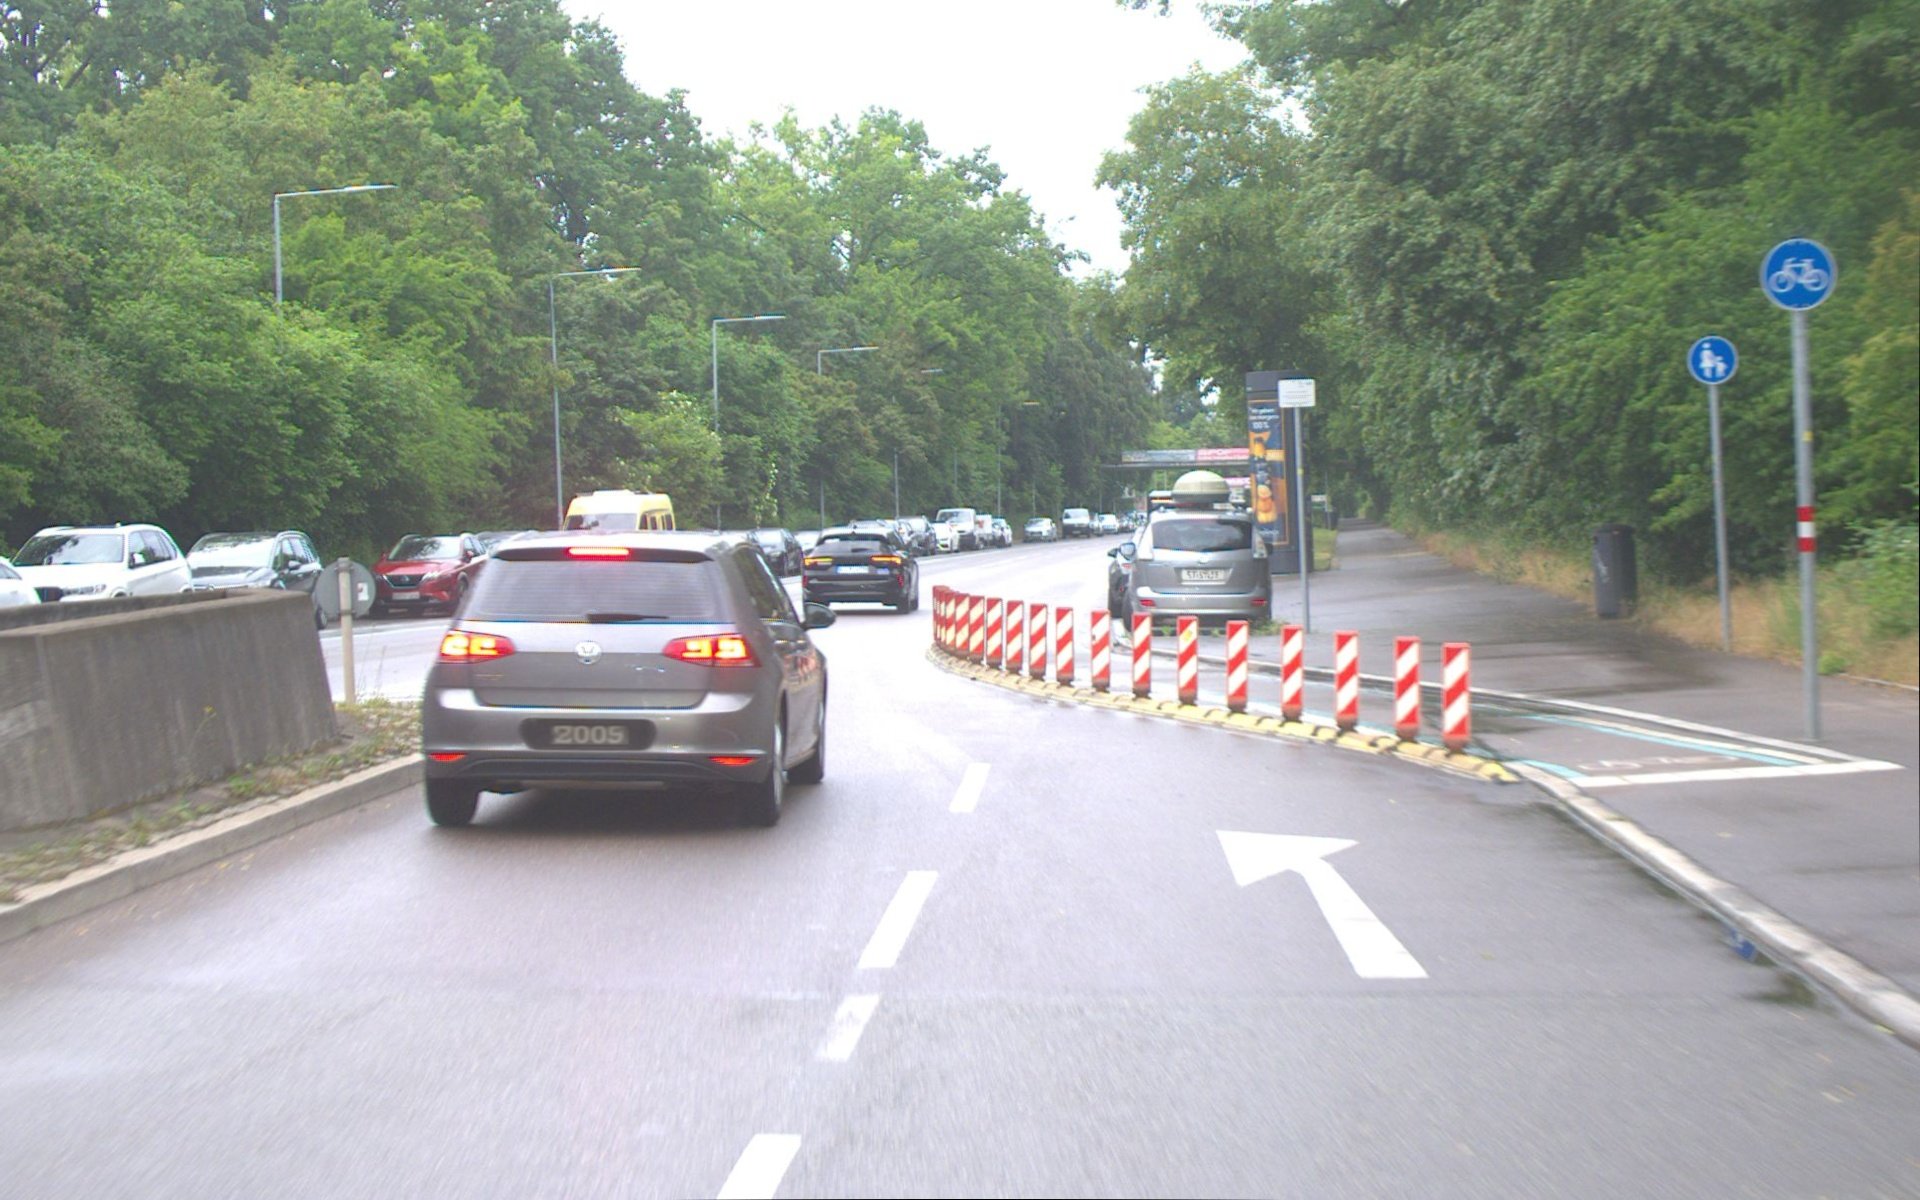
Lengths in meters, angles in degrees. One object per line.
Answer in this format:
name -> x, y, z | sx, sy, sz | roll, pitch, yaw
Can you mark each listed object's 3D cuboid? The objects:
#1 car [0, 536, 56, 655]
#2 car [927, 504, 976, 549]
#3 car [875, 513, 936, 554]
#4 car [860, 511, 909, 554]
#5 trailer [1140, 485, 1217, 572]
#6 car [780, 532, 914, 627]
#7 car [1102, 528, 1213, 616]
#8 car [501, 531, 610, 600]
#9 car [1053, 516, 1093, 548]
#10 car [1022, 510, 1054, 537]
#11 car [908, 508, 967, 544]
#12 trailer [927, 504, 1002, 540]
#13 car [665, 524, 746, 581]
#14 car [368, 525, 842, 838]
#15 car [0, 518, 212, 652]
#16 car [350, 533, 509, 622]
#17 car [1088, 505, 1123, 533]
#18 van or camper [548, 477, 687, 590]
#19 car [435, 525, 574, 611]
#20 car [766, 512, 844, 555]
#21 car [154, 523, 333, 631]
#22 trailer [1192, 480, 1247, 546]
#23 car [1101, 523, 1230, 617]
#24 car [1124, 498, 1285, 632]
car -> -12.792, -0.025, 42.175 | 1.719, 1.455, 4.707 | -1, 1, 6
car -> -0.391, -3.387, 158.068 | 1.940, 2.006, 4.740 | -1, 2, 3
car -> -2.174, -2.696, 138.761 | 1.880, 1.556, 4.467 | -1, 1, 6
car -> -2.797, -2.527, 127.951 | 1.461, 1.565, 2.984 | -1, 2, 5
trailer -> 5.906, -1.941, 92.481 | 1.906, 2.240, 4.767 | -1, 2, 5
car -> -1.842, -0.367, 57.291 | 1.881, 1.461, 4.000 | 1, 2, 3
car -> 3.483, -0.520, 60.035 | 1.856, 1.450, 4.750 | 0, 1, 4
car -> -9.114, -0.803, 77.771 | 1.618, 1.443, 3.656 | -2, 1, 6
car -> 7.517, -4.512, 227.848 | 2.159, 2.006, 5.030 | -1, 2, 7
car -> 4.609, -4.520, 202.961 | 1.673, 1.508, 3.630 | 0, 2, 5
car -> -0.941, -3.189, 147.578 | 1.994, 1.483, 4.467 | -1, 1, 6
trailer -> 0.226, -3.714, 162.958 | 1.629, 1.623, 3.665 | 0, 2, 37
car -> -7.019, -1.323, 95.015 | 1.603, 1.505, 3.138 | -1, 2, 7
car -> -1.720, 0.367, 18.069 | 1.871, 1.436, 4.296 | 0, 0, 2
car -> -12.202, -0.243, 48.044 | 1.994, 1.759, 4.959 | -1, 1, 5
car -> -10.331, -0.470, 67.279 | 1.919, 1.611, 4.489 | -2, 1, 6
car -> 10.681, -5.943, 252.071 | 2.159, 2.006, 5.030 | -1, 2, 7
van or camper -> -8.331, -1.648, 84.168 | 2.144, 2.618, 5.681 | -1, 1, 7
car -> -9.601, -0.702, 72.823 | 1.994, 1.694, 4.615 | -1, 2, 4
car -> -4.940, -2.153, 109.971 | 1.870, 1.299, 4.470 | -1, 2, 6
car -> -11.547, -0.409, 55.682 | 1.731, 1.643, 4.571 | 0, 1, 3
trailer -> 10.476, -3.520, 138.793 | 2.132, 2.551, 4.297 | -1, 2, 4
car -> 3.180, -0.496, 53.837 | 1.853, 1.394, 4.385 | 0, 1, 1
car -> 3.061, -0.464, 43.802 | 1.822, 1.609, 4.252 | -1, 1, 1
